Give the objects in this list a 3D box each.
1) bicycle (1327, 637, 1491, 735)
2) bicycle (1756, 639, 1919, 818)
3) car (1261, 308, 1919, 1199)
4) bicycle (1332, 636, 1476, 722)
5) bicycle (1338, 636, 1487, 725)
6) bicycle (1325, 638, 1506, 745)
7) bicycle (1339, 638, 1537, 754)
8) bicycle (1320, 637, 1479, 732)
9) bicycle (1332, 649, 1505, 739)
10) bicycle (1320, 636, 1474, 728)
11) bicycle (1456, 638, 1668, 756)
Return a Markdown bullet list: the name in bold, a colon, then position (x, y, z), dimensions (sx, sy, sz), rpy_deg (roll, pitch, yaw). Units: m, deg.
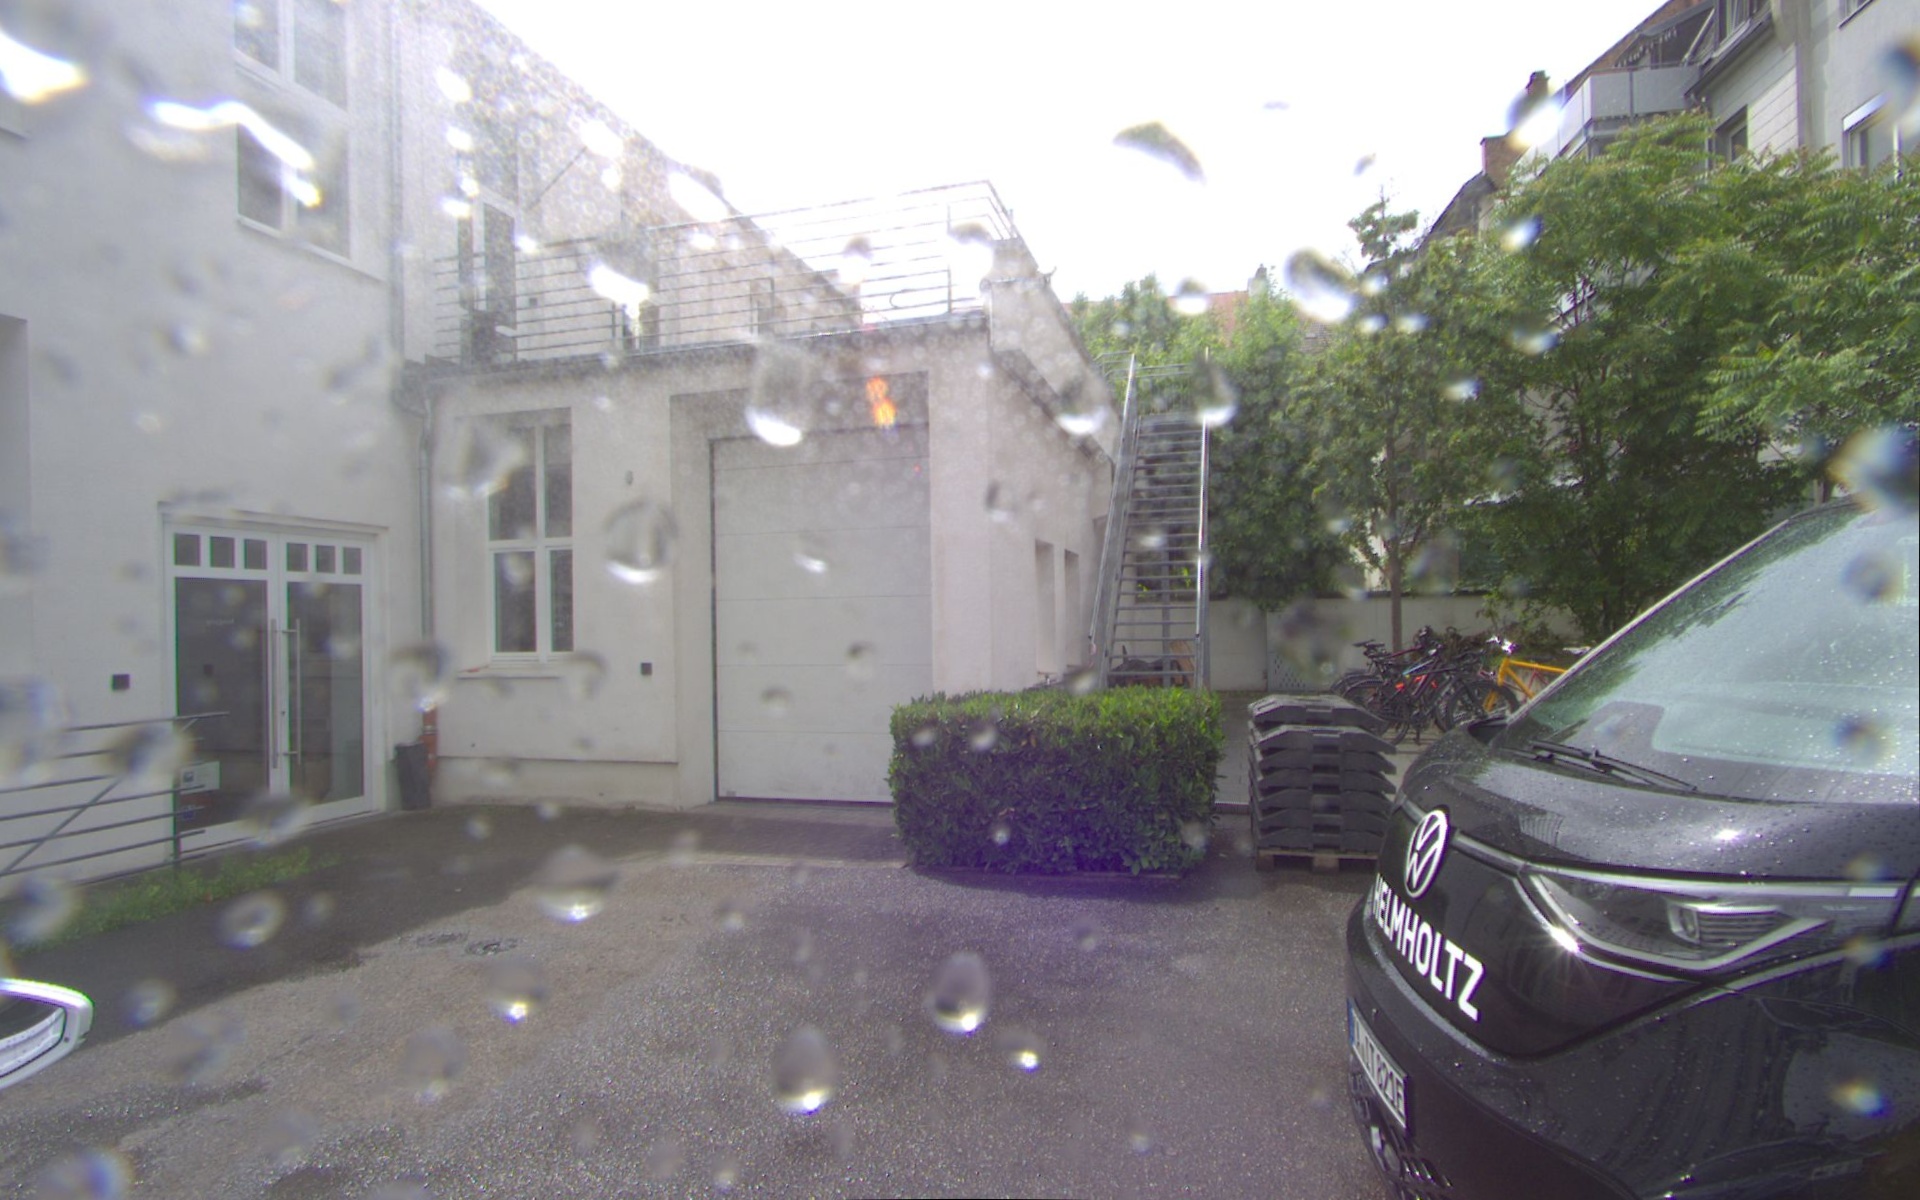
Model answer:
- **bicycle**: position (5.245, 1.003, 11.754), dimensions (1.722, 1.118, 0.333), rpy_deg (-1, 0, 10)
- **bicycle**: position (6.694, 0.880, 7.437), dimensions (0.438, 1.118, 1.795), rpy_deg (-3, -1, 13)
- **car**: position (3.158, 0.547, 1.914), dimensions (4.657, 1.888, 1.970), rpy_deg (-2, -1, 9)
- **bicycle**: position (5.913, 1.049, 13.381), dimensions (1.722, 1.118, 0.342), rpy_deg (-1, 0, 10)
- **bicycle**: position (5.858, 1.038, 13.016), dimensions (1.722, 1.118, 0.355), rpy_deg (-1, 0, 10)
- **bicycle**: position (4.952, 0.981, 10.977), dimensions (1.764, 1.118, 0.354), rpy_deg (-1, 0, 18)
- **bicycle**: position (4.813, 0.956, 10.179), dimensions (1.764, 1.118, 0.405), rpy_deg (-1, 0, 18)
- **bicycle**: position (5.291, 1.015, 12.113), dimensions (1.722, 1.118, 0.342), rpy_deg (-1, 0, 10)
- **bicycle**: position (5.201, 1.062, 11.413), dimensions (1.762, 0.980, 0.330), rpy_deg (-1, 0, 10)
- **bicycle**: position (5.461, 1.027, 12.564), dimensions (1.722, 1.118, 0.345), rpy_deg (-1, 0, 10)
- **bicycle**: position (5.939, 0.943, 9.957), dimensions (1.764, 1.118, 0.366), rpy_deg (-1, 0, 18)
